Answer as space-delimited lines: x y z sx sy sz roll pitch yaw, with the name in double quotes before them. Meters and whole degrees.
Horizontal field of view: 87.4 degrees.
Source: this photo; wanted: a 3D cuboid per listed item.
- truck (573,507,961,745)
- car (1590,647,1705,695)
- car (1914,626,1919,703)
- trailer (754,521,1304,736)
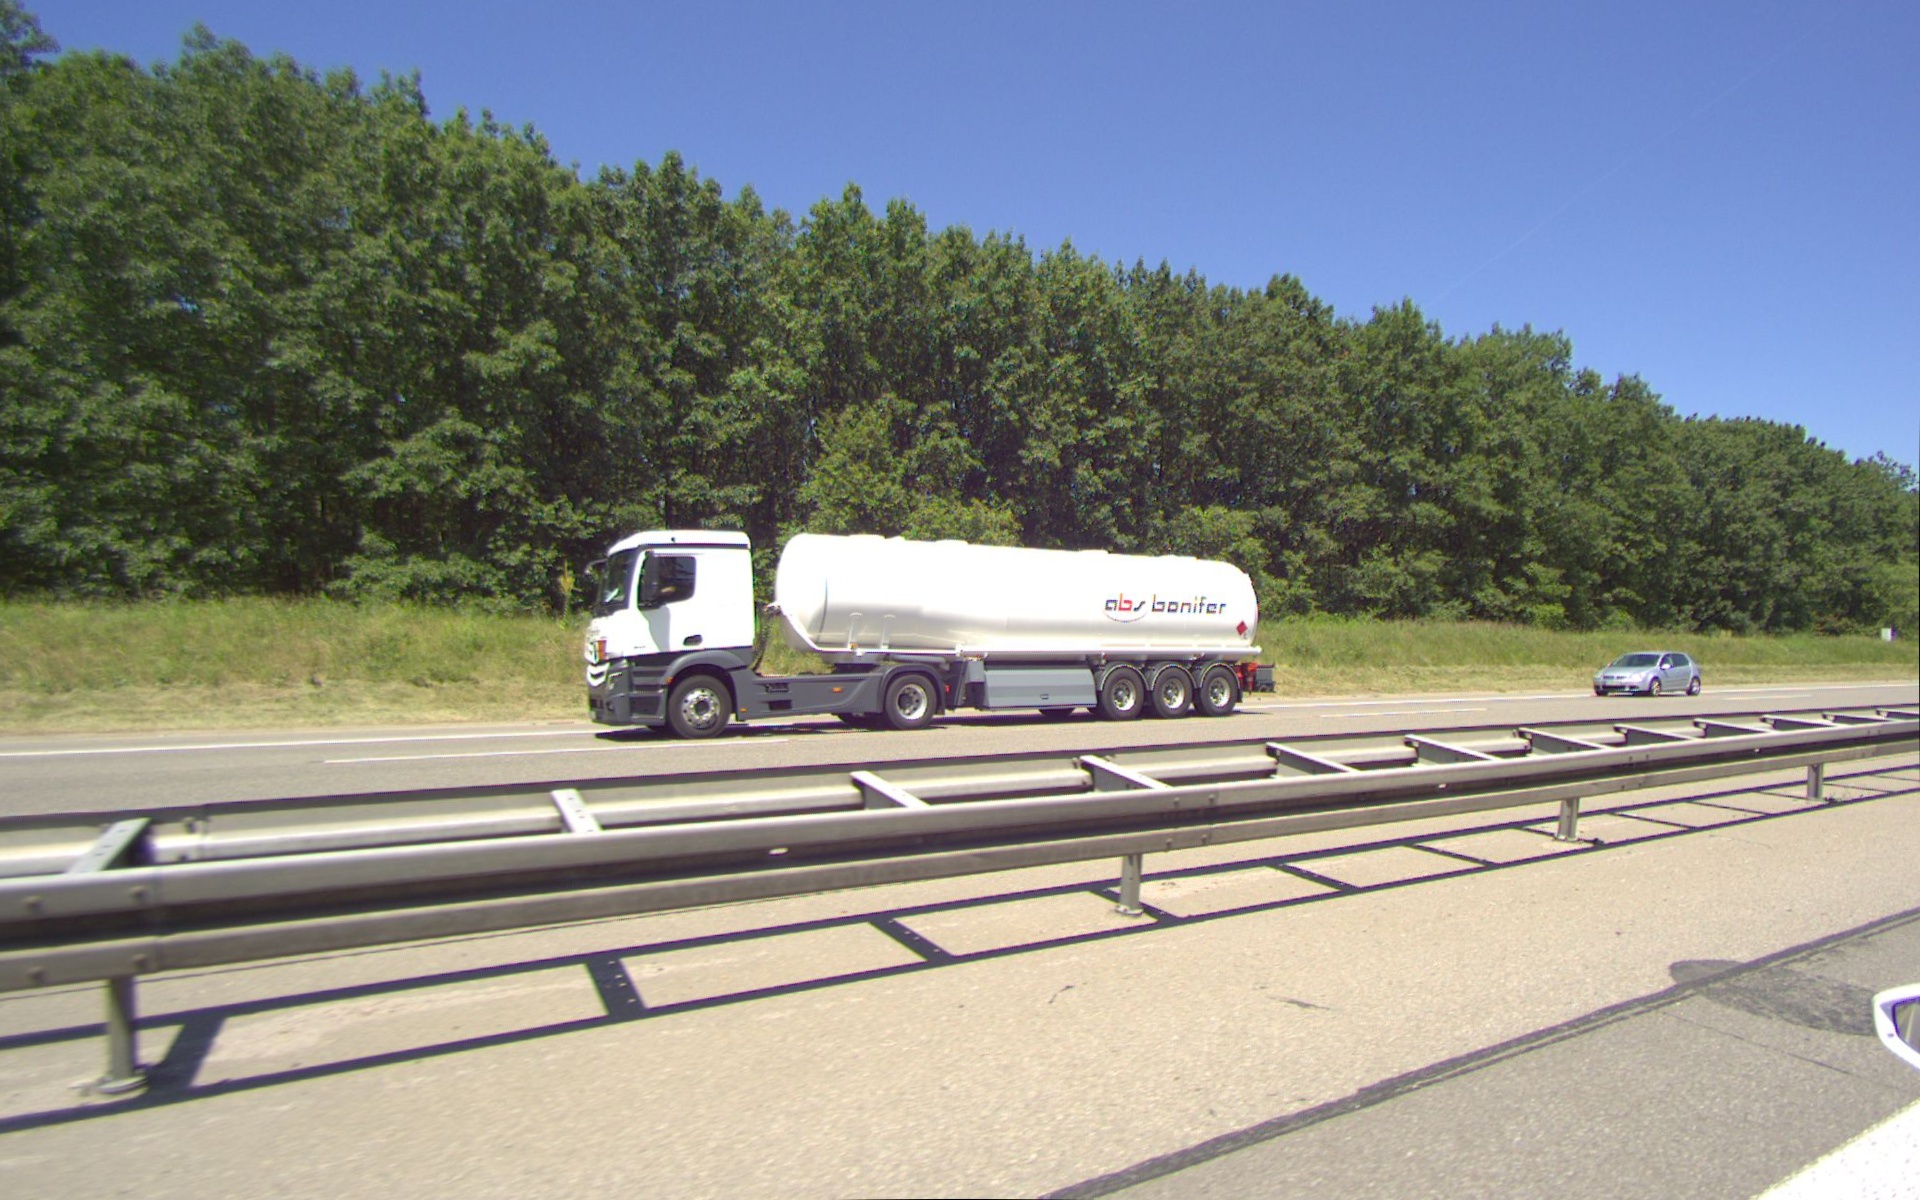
"truck" -3.253 0.515 17.358 6.072 3.479 2.670 2 -3 -30
"car" 22.488 2.284 32.812 3.989 1.484 1.562 2 -3 -31
"car" 27.415 1.682 26.346 5.676 1.972 1.986 2 -3 -31
"trailer" 1.877 0.661 20.371 11.661 3.479 2.670 2 -3 -30
